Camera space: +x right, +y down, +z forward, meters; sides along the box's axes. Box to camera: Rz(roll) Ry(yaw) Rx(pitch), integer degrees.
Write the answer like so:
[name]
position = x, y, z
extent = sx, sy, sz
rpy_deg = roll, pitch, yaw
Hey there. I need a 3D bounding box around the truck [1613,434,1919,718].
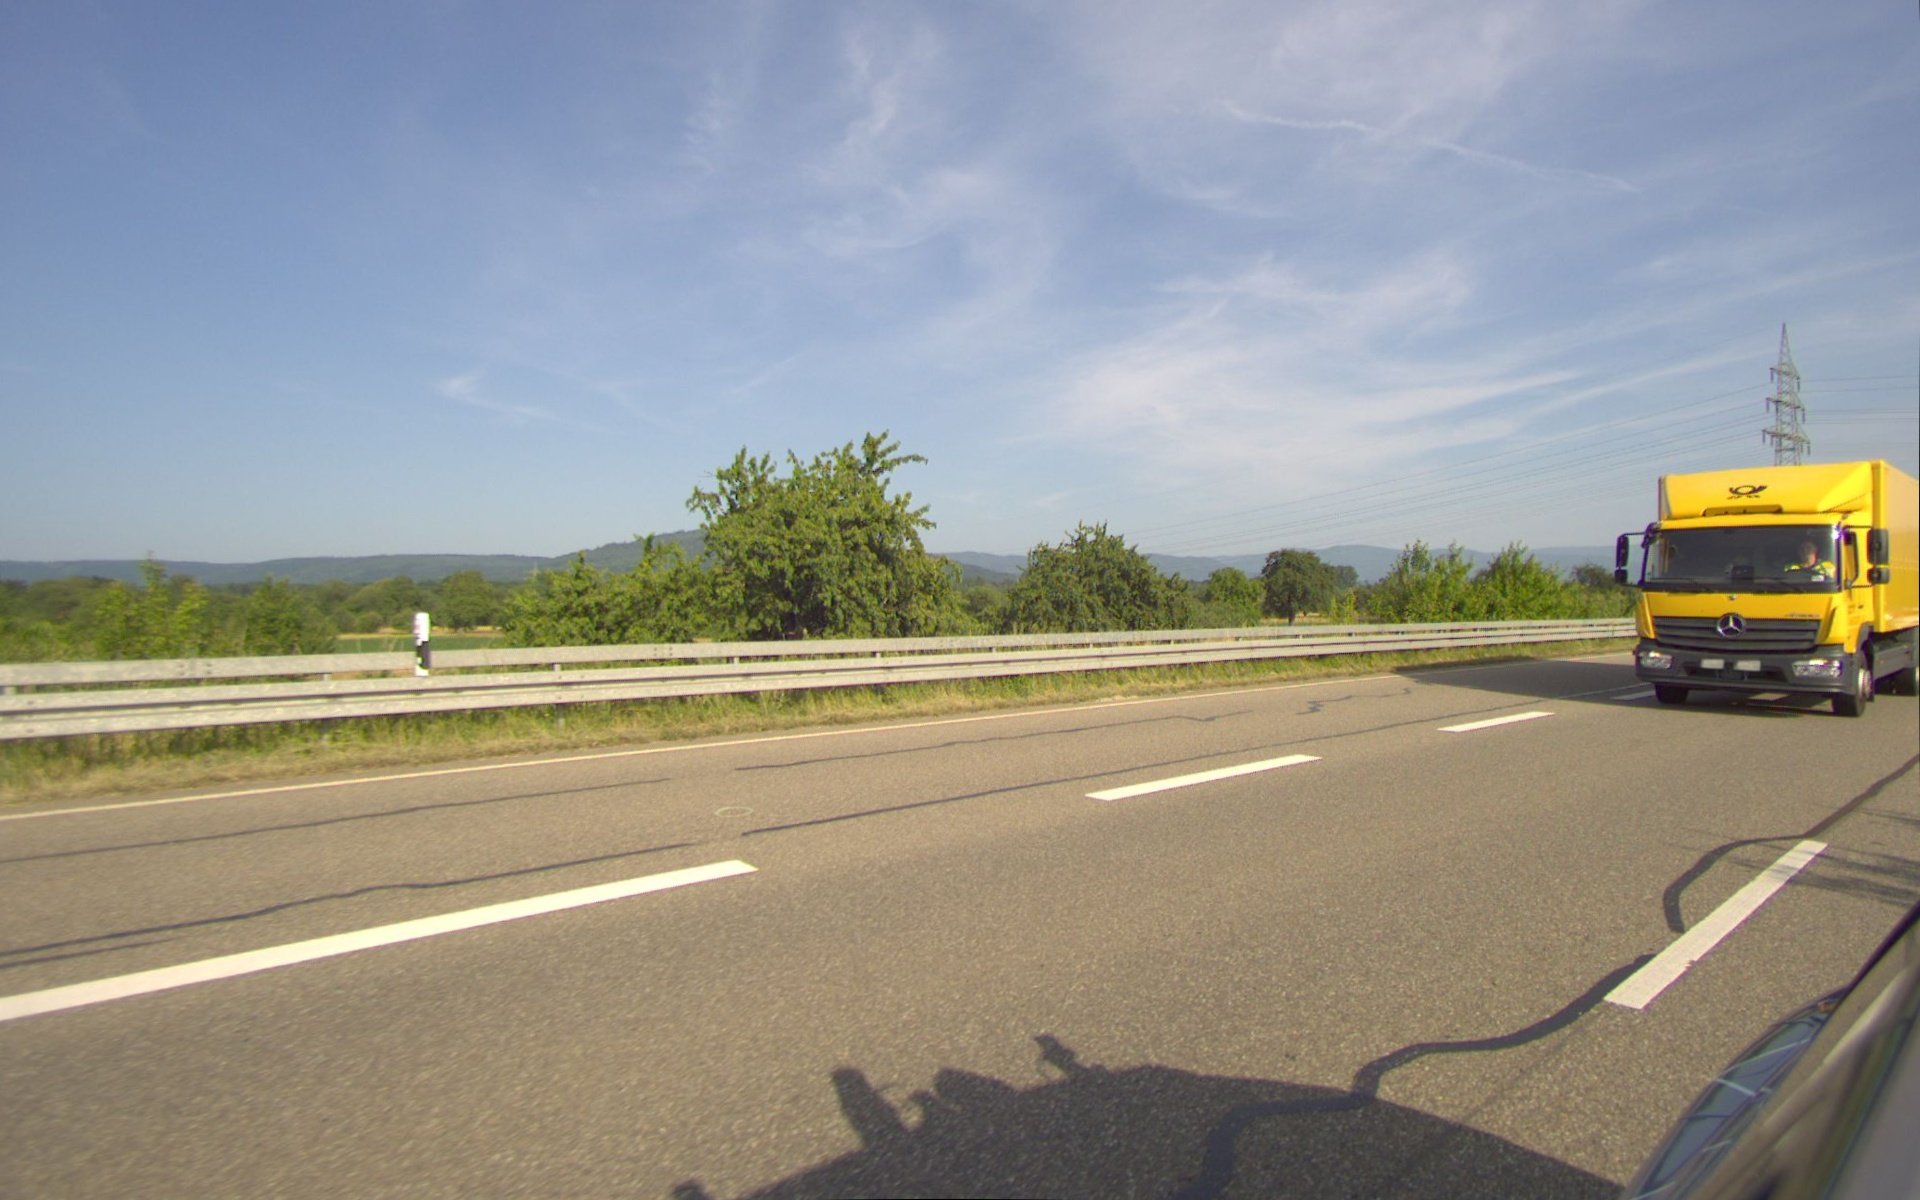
[truck]
position = 13.896, -0.292, 16.428
extent = 10.305, 3.359, 2.783
rpy_deg = 0, 0, -41
